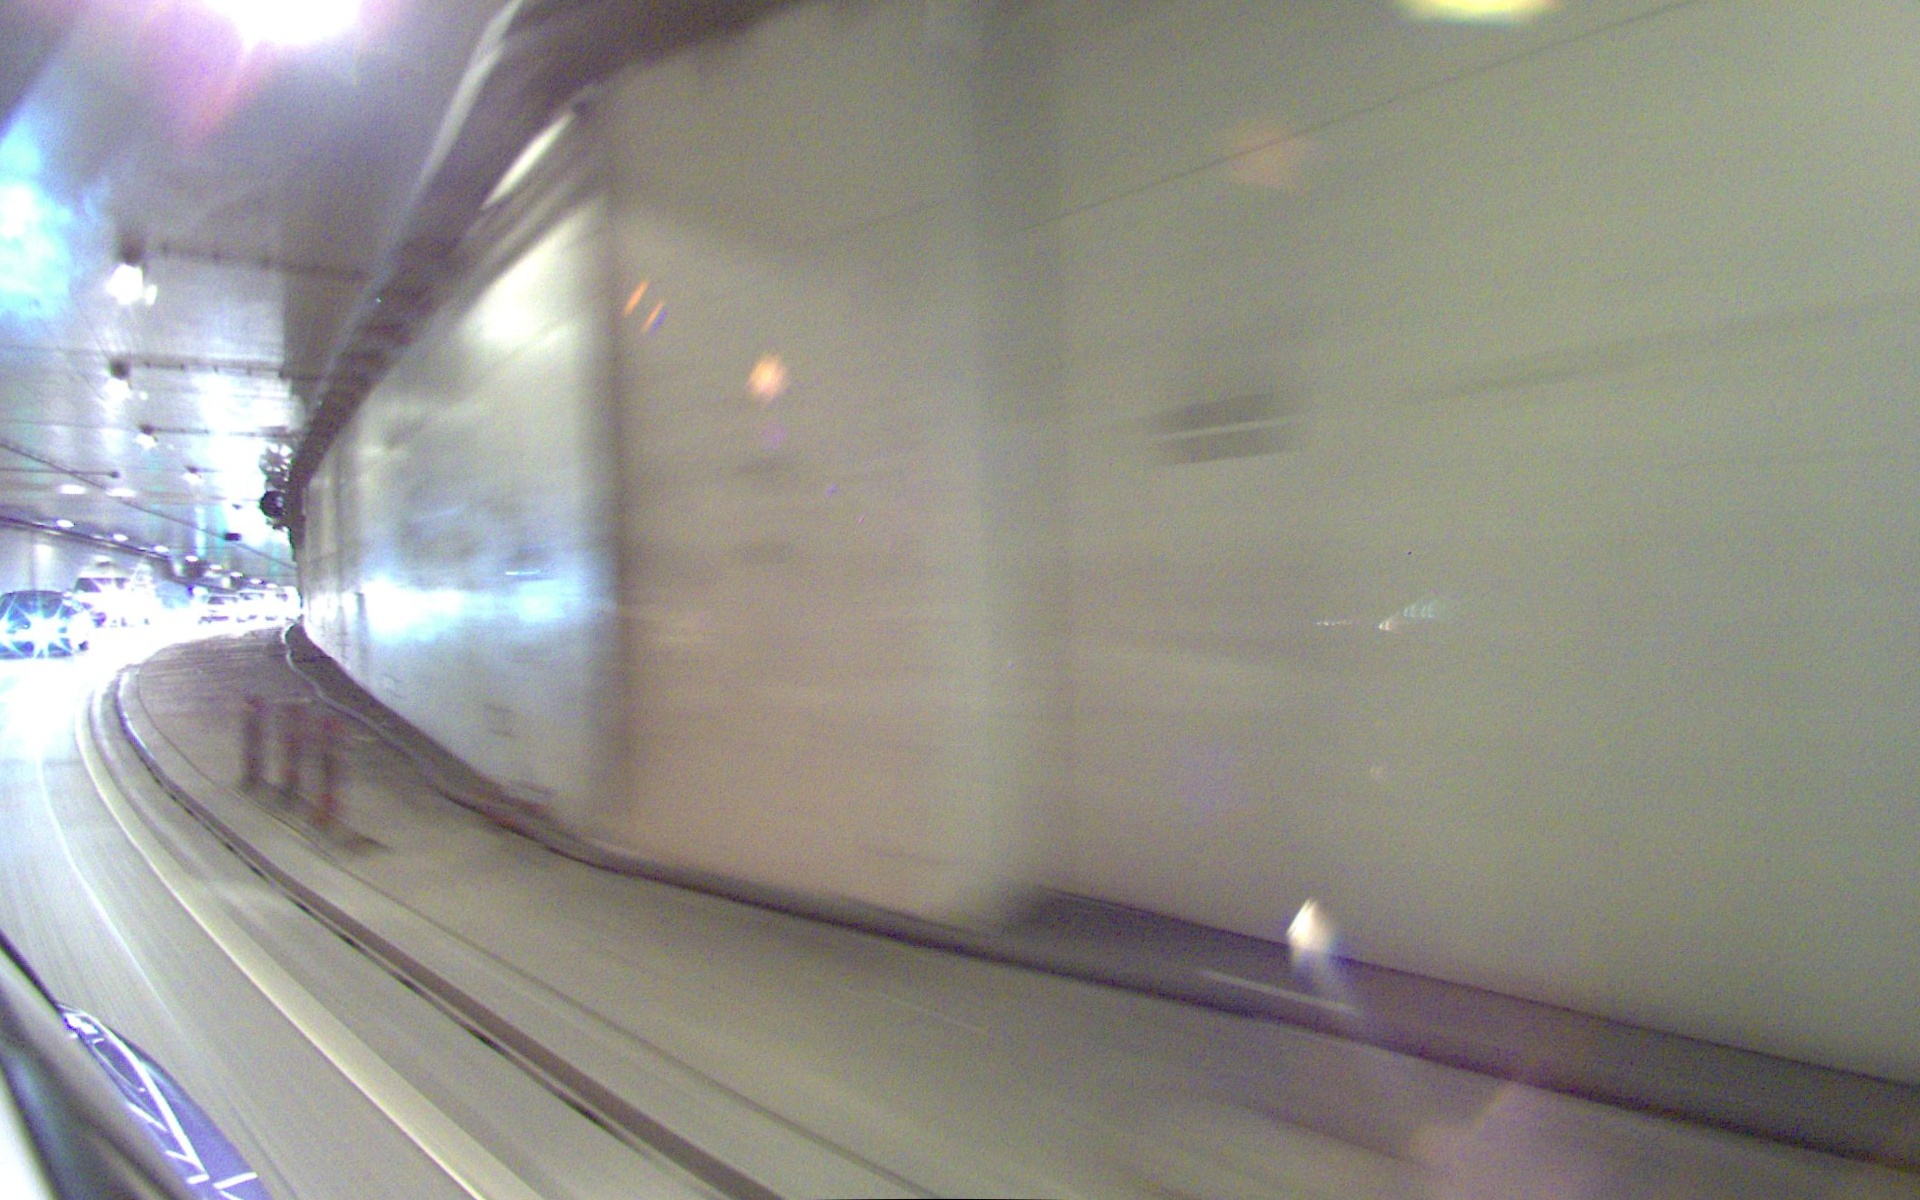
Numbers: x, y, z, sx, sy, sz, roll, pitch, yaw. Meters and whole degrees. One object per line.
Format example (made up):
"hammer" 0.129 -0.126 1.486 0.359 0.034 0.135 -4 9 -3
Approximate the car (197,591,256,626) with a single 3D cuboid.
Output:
"car" -35.948 0.387 49.663 1.735 1.572 3.831 -3 1 -27

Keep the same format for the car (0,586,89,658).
"car" -21.738 0.455 23.800 1.613 1.573 3.725 0 0 -36

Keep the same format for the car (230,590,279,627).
"car" -42.450 0.544 60.951 1.904 1.944 4.209 -2 -3 -29

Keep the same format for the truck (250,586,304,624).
"truck" -49.684 0.287 73.707 2.040 2.558 6.044 -3 2 -23

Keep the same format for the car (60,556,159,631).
"car" -37.454 -0.176 44.777 2.072 2.869 6.881 0 -3 -29
